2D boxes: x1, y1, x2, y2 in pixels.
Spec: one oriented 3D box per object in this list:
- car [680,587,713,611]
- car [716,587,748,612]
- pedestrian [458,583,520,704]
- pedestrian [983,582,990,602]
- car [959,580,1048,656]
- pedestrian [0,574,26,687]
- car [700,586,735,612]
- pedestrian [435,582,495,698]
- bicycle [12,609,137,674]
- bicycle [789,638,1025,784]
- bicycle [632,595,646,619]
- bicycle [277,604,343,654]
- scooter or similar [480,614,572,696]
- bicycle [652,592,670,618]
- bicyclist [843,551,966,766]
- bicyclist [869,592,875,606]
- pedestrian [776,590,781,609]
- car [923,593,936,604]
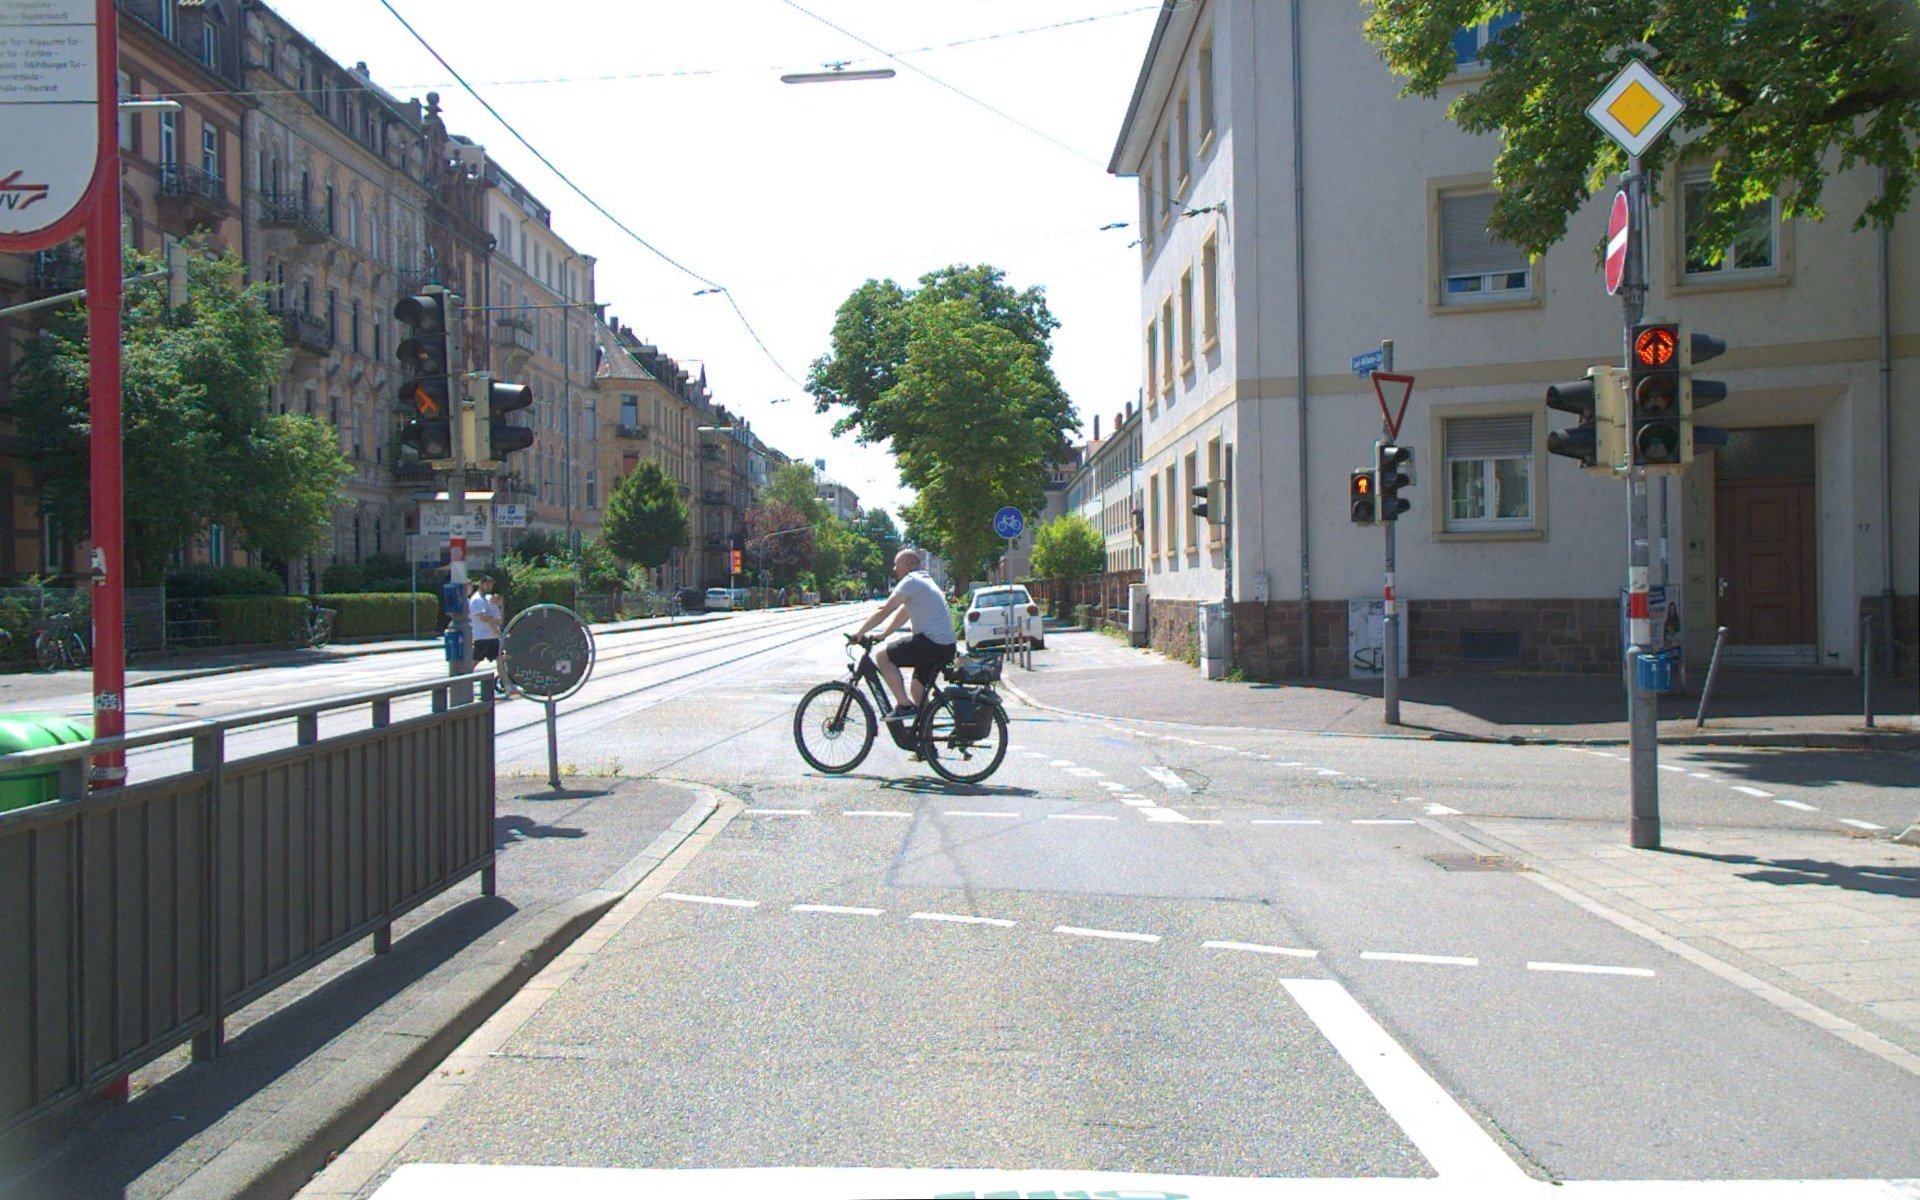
[{"bbox_3d":[-19.666,-0.078,123.606,1.880,1.745,3.999,1,0,-1],"label":"car"},{"bbox_3d":[-17.035,-0.033,123.572,1.880,1.745,3.999,1,0,-1],"label":"car"},{"bbox_3d":[-6.662,0.604,23.394,0.660,1.674,0.559,1,-1,4],"label":"pedestrian"},{"bbox_3d":[2.128,-0.631,133.480,0.511,1.590,0.573,-1,0,-1],"label":"pedestrian"},{"bbox_3d":[0.935,0.393,37.339,1.778,1.542,3.999,-3,0,-1],"label":"car"},{"bbox_3d":[-16.113,0.496,27.336,0.799,1.854,0.874,1,1,7],"label":"pedestrian"},{"bbox_3d":[-16.867,-0.064,115.311,1.880,1.745,3.999,1,0,-1],"label":"car"},{"bbox_3d":[-7.296,0.583,24.389,0.660,1.674,0.559,1,-1,4],"label":"pedestrian"},{"bbox_3d":[-16.706,0.755,31.303,0.918,1.156,2.773,1,0,-2],"label":"bicycle"},{"bbox_3d":[-0.398,0.846,12.883,1.723,1.075,0.700,0,0,10],"label":"bicycle"},{"bbox_3d":[-15.491,0.328,79.786,0.665,1.083,1.913,-1,0,-12],"label":"bicycle"},{"bbox_3d":[-15.894,0.695,40.510,0.920,1.156,2.767,1,0,-9],"label":"bicycle"},{"bbox_3d":[-6.379,0.804,24.338,1.176,1.175,0.559,1,-1,2],"label":"scooter or similar"},{"bbox_3d":[-15.268,0.242,84.434,0.664,1.301,1.917,-1,0,-4],"label":"bicycle"},{"bbox_3d":[-0.423,0.443,12.872,0.828,1.620,0.700,0,0,10],"label":"bicyclist"},{"bbox_3d":[-11.468,-0.117,216.220,0.712,1.850,1.079,1,0,1],"label":"bicyclist"},{"bbox_3d":[-14.800,-0.035,134.837,0.398,1.486,0.436,-1,0,-1],"label":"pedestrian"},{"bbox_3d":[-4.358,-0.247,234.438,1.788,1.545,3.999,1,0,-1],"label":"car"}]
